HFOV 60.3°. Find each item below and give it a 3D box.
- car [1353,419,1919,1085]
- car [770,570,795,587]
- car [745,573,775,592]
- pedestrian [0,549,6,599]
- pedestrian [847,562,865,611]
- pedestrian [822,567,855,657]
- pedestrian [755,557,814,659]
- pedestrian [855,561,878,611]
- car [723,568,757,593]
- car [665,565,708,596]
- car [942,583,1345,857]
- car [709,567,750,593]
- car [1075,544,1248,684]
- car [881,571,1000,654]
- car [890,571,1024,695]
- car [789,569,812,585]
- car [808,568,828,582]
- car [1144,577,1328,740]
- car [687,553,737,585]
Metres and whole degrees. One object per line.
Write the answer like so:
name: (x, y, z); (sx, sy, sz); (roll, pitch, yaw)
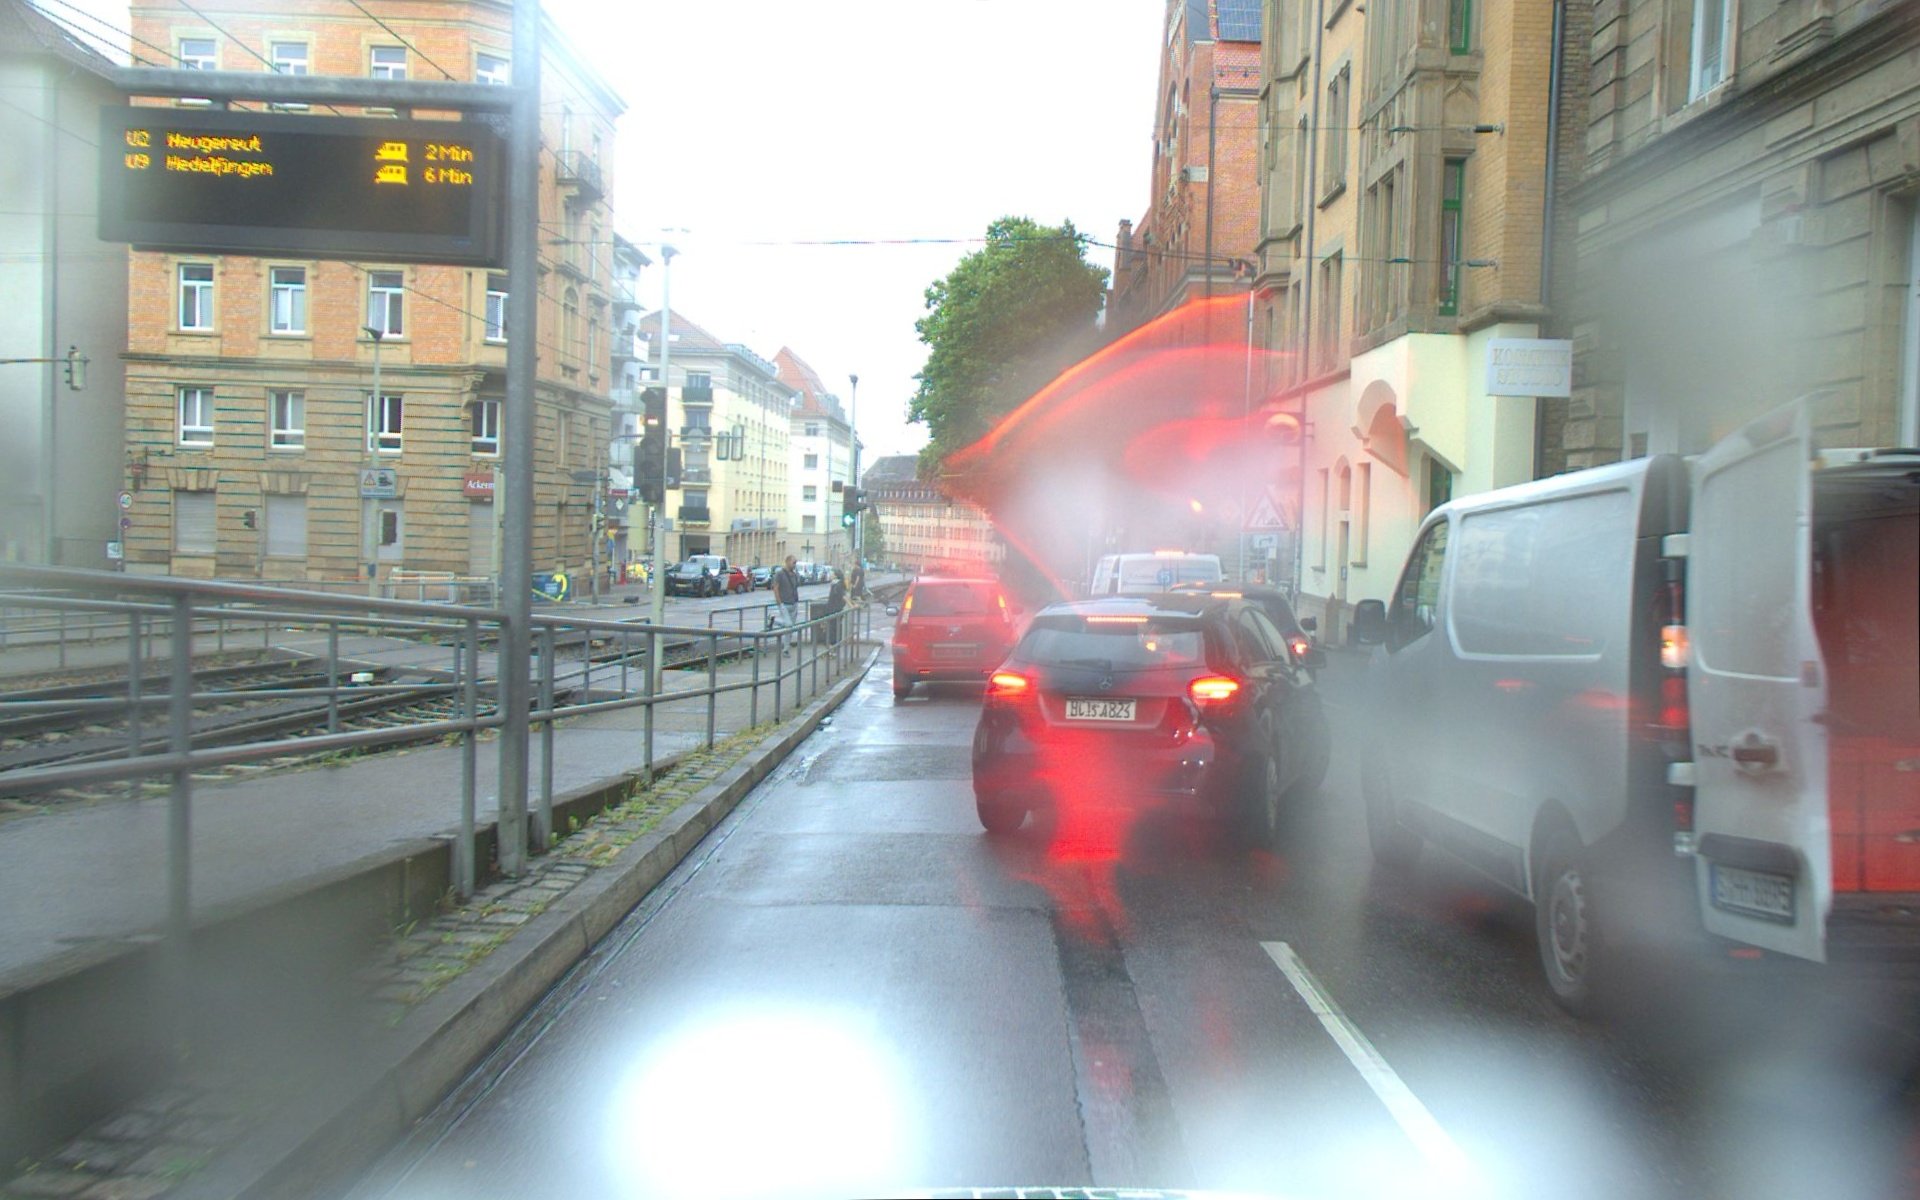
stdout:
car: (3.172, 0.437, 7.260); (1.881, 1.969, 4.687); (1, 1, 2)
car: (-12.541, -1.532, 116.810); (1.366, 1.191, 3.162); (1, 1, 1)
car: (-12.496, -1.099, 103.582); (1.407, 1.126, 3.162); (1, 1, 1)
pedestrian: (-31.646, -0.859, 54.268); (0.513, 1.650, 0.479); (1, 1, -39)
pedestrian: (-3.667, -0.474, 58.129); (0.507, 1.695, 0.477); (2, 1, 4)
pedestrian: (-2.129, 0.211, 28.959); (0.521, 1.557, 0.436); (1, 0, -7)
pedestrian: (-3.083, 0.140, 29.059); (0.735, 1.754, 0.729); (1, 1, -42)
pedestrian: (-3.225, -0.490, 57.304); (0.664, 1.690, 0.677); (1, 1, 7)
car: (-12.627, -1.138, 95.120); (1.469, 1.379, 3.162); (1, 1, 1)
car: (-12.838, -0.935, 77.808); (1.422, 1.341, 3.295); (2, 1, 0)
car: (1.409, 0.616, 10.936); (1.855, 1.414, 4.002); (1, 1, 18)
car: (-12.635, -1.087, 90.833); (1.645, 1.379, 3.704); (1, 1, 1)
car: (2.891, 0.152, 24.602); (1.894, 1.863, 4.280); (1, 1, -2)
car: (-0.438, 0.213, 33.068); (1.399, 1.515, 3.144); (1, 1, -20)
car: (-0.066, 0.378, 22.291); (1.646, 1.515, 3.612); (1, 1, -1)
car: (-12.340, -1.754, 128.140); (1.366, 1.191, 3.162); (1, 1, 1)
car: (-12.331, -2.183, 143.832); (1.366, 1.191, 3.162); (1, 1, 1)
car: (2.905, 0.525, 17.757); (1.677, 1.494, 4.285); (1, 1, 8)
car: (-12.628, -1.589, 84.408); (1.749, 1.556, 4.463); (1, 1, 1)
